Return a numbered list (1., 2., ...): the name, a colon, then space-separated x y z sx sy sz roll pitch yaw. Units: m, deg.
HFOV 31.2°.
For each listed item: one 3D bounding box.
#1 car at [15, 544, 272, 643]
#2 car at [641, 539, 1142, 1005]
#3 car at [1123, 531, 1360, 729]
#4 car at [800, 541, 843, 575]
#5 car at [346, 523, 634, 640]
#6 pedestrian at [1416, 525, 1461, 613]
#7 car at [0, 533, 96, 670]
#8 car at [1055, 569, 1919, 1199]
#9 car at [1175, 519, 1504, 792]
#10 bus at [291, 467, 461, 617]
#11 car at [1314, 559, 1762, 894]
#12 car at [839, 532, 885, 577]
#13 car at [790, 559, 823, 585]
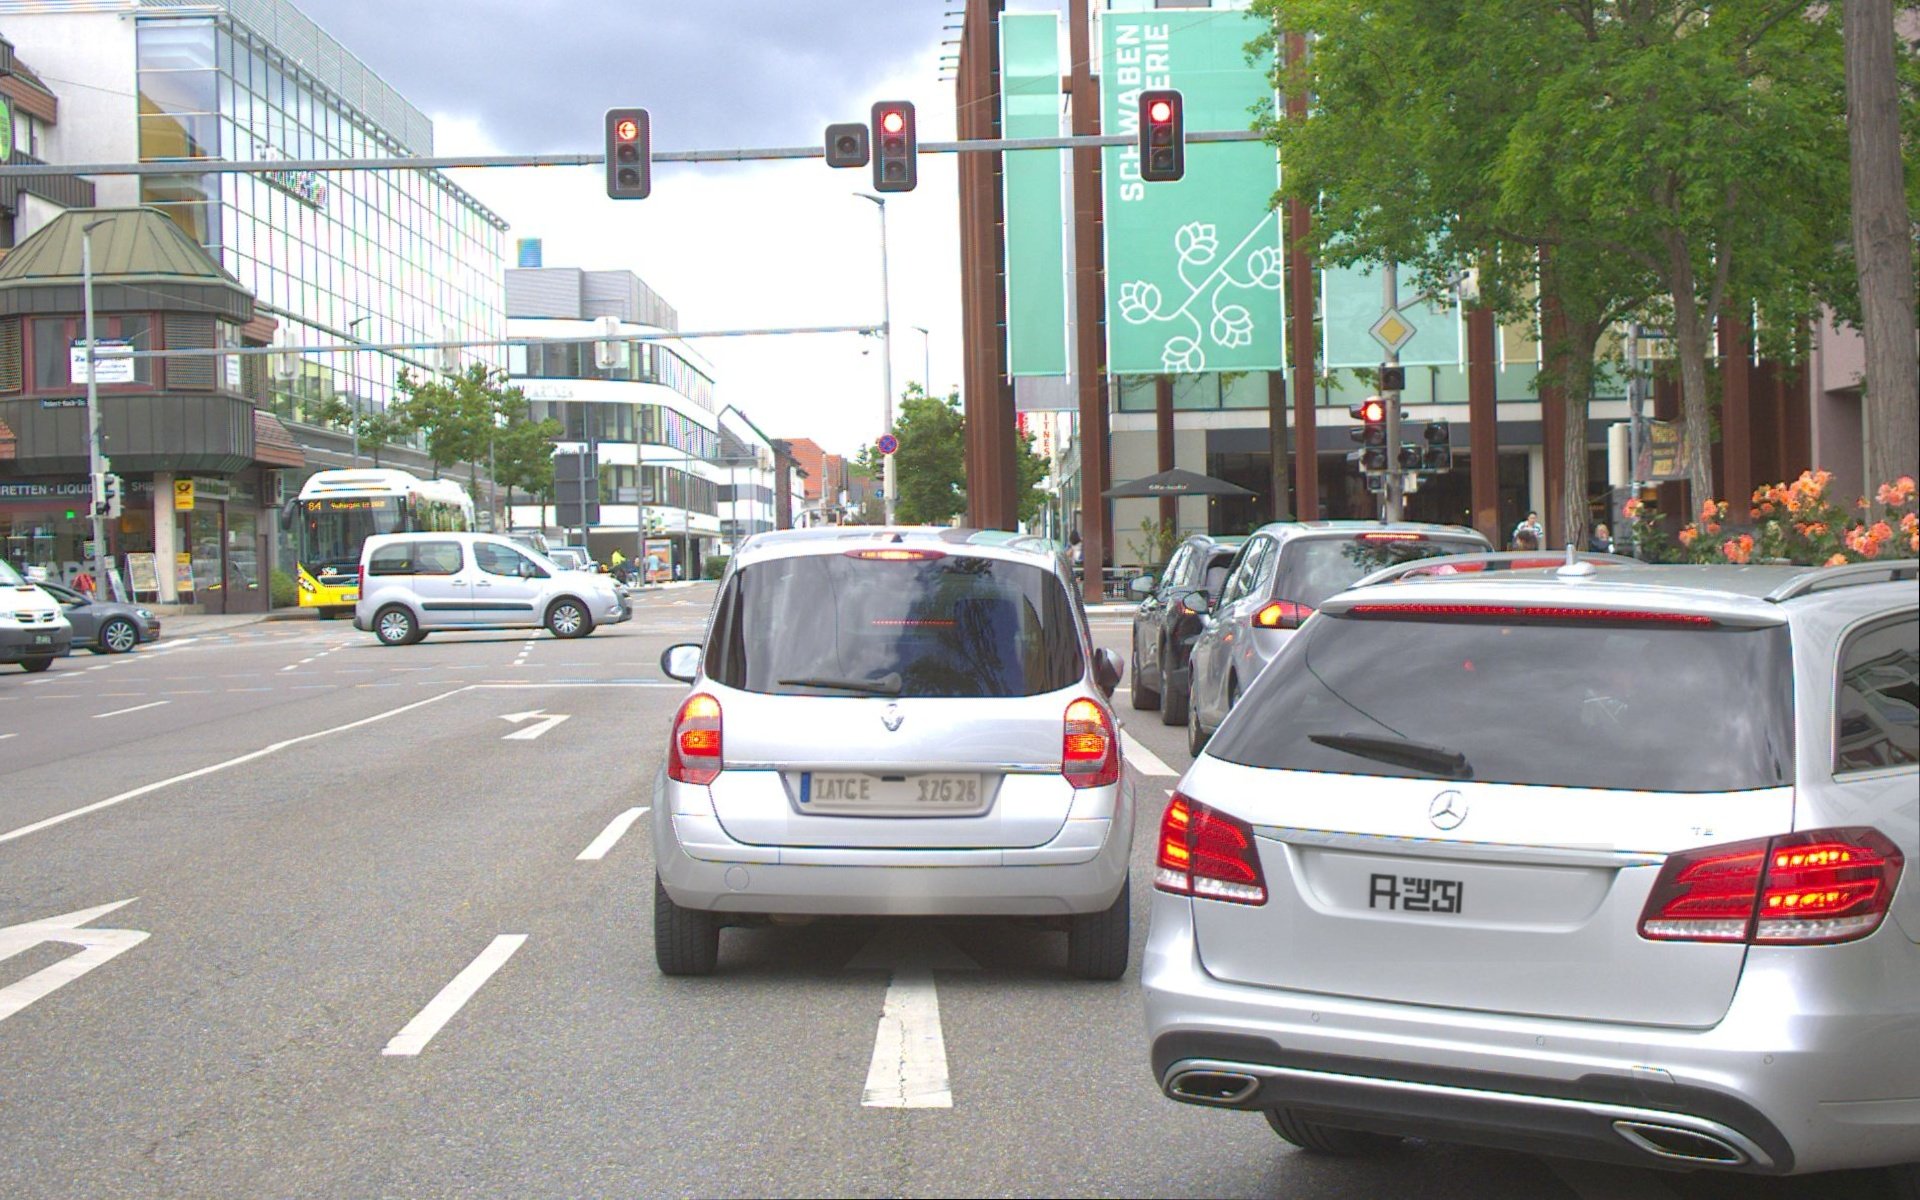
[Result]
1. car: -14.658 -0.134 61.912 1.921 1.671 4.233 0 1 37
2. car: -0.245 0.536 12.973 1.640 1.522 3.394 0 1 -1
3. car: 2.384 0.209 29.928 1.586 1.589 3.868 1 1 -2
4. car: -6.523 -1.995 162.043 1.801 1.535 4.065 -1 1 1
5. car: -7.478 -0.304 54.885 4.385 1.767 1.327 -1 1 0
6. pedestrian: 9.069 -0.588 65.150 0.651 1.645 0.559 -1 1 -15
7. car: -15.367 0.069 50.079 5.147 1.881 1.998 -2 1 23
8. car: 2.206 0.669 8.876 1.819 1.443 4.360 1 1 35
9. car: 2.419 0.303 22.750 1.586 1.628 3.917 1 1 -2
10. bus: -13.483 -1.353 79.998 2.686 3.250 8.654 -1 1 -2
11. car: 2.726 0.541 16.855 1.586 1.438 3.348 1 1 0
12. car: -4.384 -2.040 153.573 1.993 1.942 4.951 -1 1 -2
13. car: -9.519 -1.727 213.595 1.801 1.535 4.065 -1 1 1
